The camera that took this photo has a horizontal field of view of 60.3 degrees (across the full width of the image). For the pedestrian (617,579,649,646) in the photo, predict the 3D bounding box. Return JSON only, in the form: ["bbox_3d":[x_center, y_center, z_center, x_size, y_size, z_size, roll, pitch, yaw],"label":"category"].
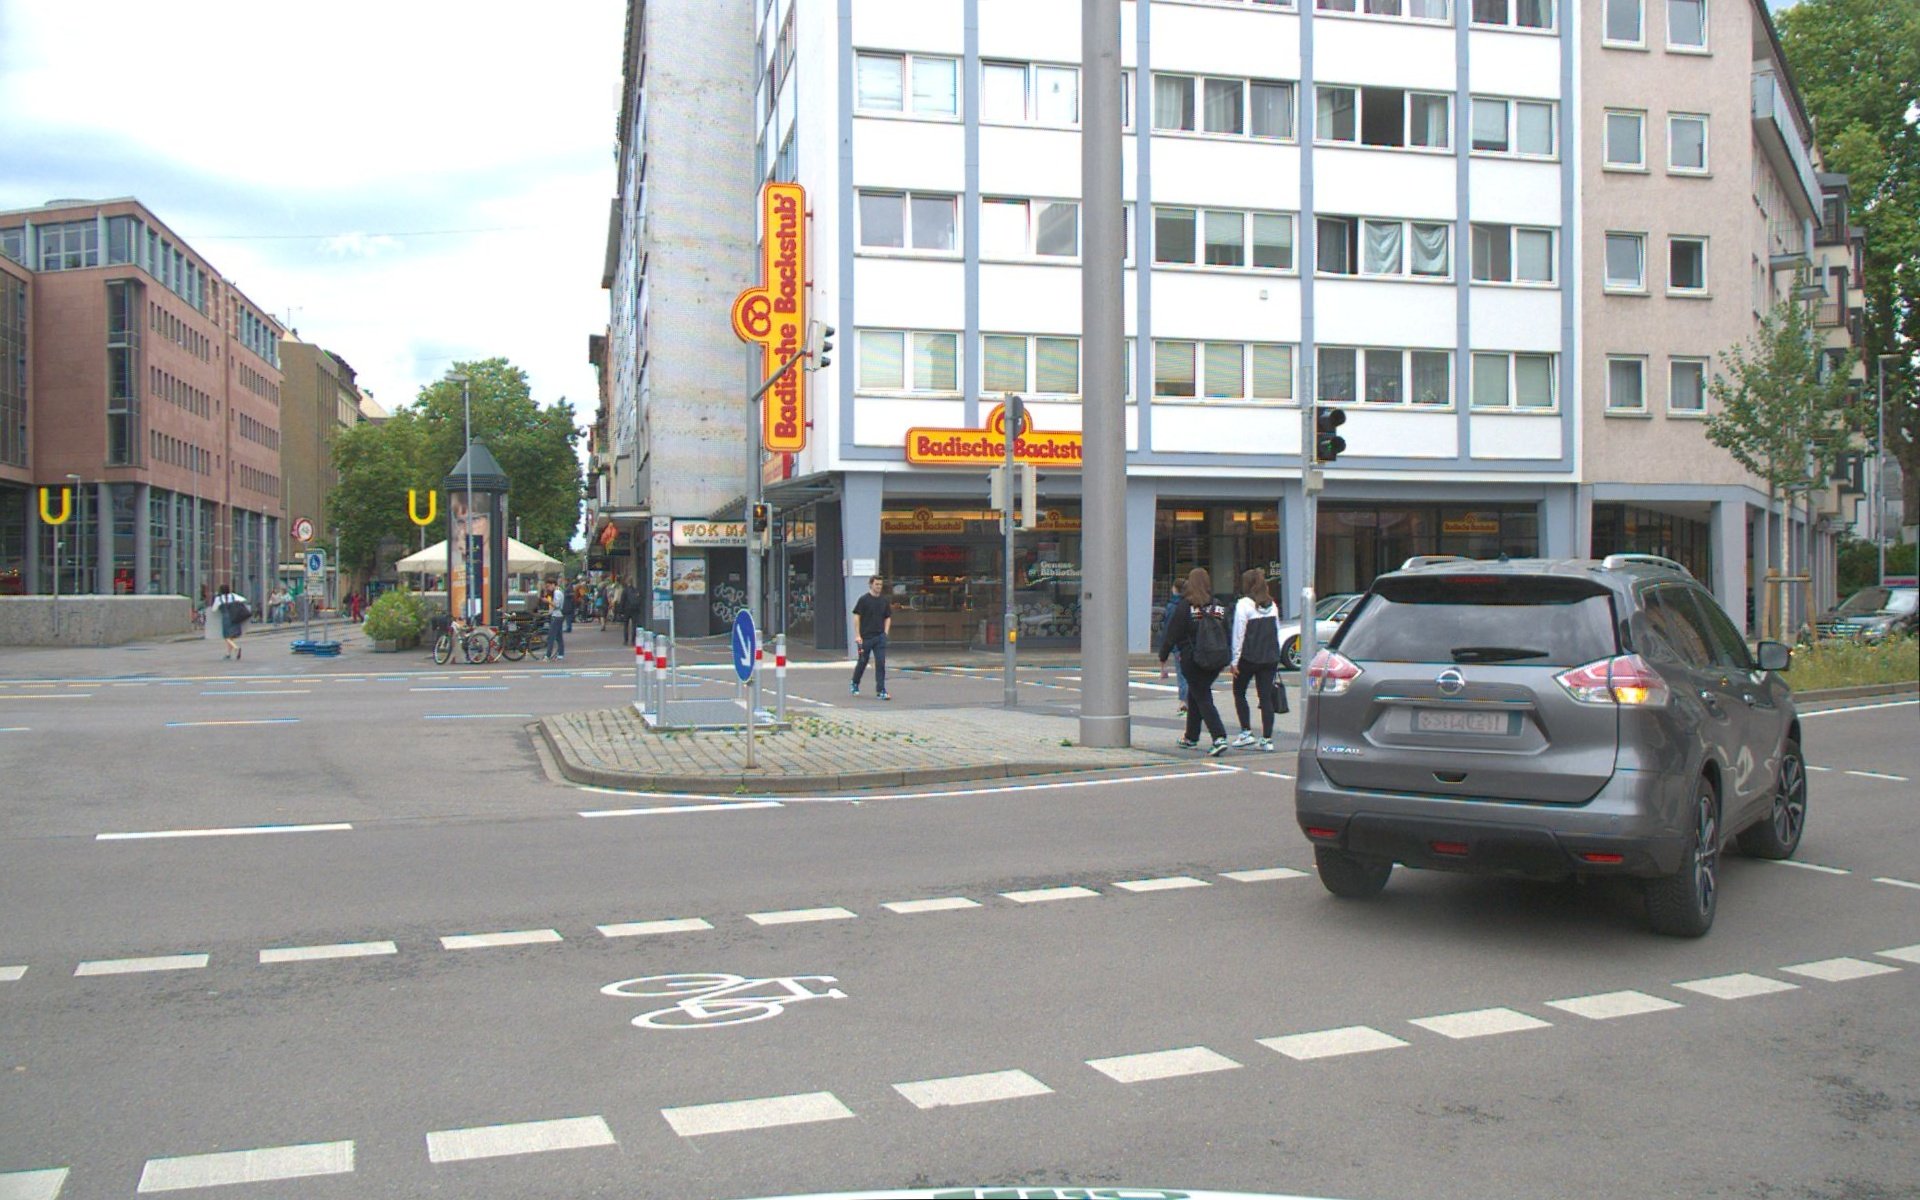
[{"bbox_3d":[-8.603,0.319,43.552,0.695,1.734,0.734,1,0,-1],"label":"pedestrian"}]

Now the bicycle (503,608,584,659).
[{"bbox_3d":[-9.132,0.728,36.281,1.663,1.084,0.436,1,0,-7],"label":"bicycle"}]

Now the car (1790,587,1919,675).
[{"bbox_3d":[17.669,0.533,30.954,4.508,1.507,1.729,-1,0,-32],"label":"car"}]

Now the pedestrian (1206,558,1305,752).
[{"bbox_3d":[2.809,0.508,15.764,0.612,1.792,0.775,1,0,-21],"label":"pedestrian"}]

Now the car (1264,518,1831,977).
[{"bbox_3d":[3.407,0.562,8.932,1.831,1.806,4.553,1,1,34],"label":"car"}]

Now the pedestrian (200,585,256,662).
[{"bbox_3d":[-16.712,0.538,37.789,0.906,1.734,0.735,1,0,6],"label":"pedestrian"}]

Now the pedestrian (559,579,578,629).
[{"bbox_3d":[-13.789,0.137,58.245,0.632,1.734,0.557,1,0,-13],"label":"pedestrian"}]

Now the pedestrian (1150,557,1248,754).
[{"bbox_3d":[2.234,0.505,15.510,0.612,1.792,0.775,1,0,-21],"label":"pedestrian"}]

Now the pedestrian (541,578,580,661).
[{"bbox_3d":[-8.696,0.417,35.990,0.721,1.776,0.659,1,0,-21],"label":"pedestrian"}]

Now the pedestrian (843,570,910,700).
[{"bbox_3d":[-1.230,0.501,24.326,0.702,1.864,1.011,1,0,-21],"label":"pedestrian"}]

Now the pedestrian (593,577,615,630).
[{"bbox_3d":[-12.641,0.111,58.691,0.725,1.853,0.659,-1,0,-16],"label":"pedestrian"}]

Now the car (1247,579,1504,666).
[{"bbox_3d":[7.892,0.408,31.479,4.478,1.507,1.741,-1,0,-16],"label":"car"}]

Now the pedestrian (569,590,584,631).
[{"bbox_3d":[-16.432,0.460,70.886,0.601,1.734,0.618,1,0,-12],"label":"pedestrian"}]

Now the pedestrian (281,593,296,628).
[{"bbox_3d":[-29.488,0.461,72.628,0.591,1.563,0.651,1,0,-20],"label":"pedestrian"}]

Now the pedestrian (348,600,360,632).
[{"bbox_3d":[-33.069,0.875,90.193,0.591,1.744,0.651,1,0,-20],"label":"pedestrian"}]

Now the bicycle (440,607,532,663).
[{"bbox_3d":[-10.306,0.756,35.977,1.845,1.192,0.526,1,0,-28],"label":"bicycle"}]

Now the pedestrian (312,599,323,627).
[{"bbox_3d":[-39.608,0.788,101.914,0.591,1.744,0.651,1,0,-20],"label":"pedestrian"}]

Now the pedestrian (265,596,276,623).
[{"bbox_3d":[-43.547,0.594,104.515,0.591,1.744,0.651,1,0,-20],"label":"pedestrian"}]

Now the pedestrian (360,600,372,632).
[{"bbox_3d":[-32.461,0.882,90.426,0.591,1.744,0.651,1,0,-20],"label":"pedestrian"}]

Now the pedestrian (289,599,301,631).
[{"bbox_3d":[-36.969,0.827,91.981,0.591,1.744,0.651,1,0,-20],"label":"pedestrian"}]

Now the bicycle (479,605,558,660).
[{"bbox_3d":[-9.813,0.720,36.769,1.671,1.192,0.435,1,0,-21],"label":"bicycle"}]

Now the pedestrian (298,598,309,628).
[{"bbox_3d":[-39.603,0.780,99.732,0.591,1.744,0.651,1,0,-20],"label":"pedestrian"}]
